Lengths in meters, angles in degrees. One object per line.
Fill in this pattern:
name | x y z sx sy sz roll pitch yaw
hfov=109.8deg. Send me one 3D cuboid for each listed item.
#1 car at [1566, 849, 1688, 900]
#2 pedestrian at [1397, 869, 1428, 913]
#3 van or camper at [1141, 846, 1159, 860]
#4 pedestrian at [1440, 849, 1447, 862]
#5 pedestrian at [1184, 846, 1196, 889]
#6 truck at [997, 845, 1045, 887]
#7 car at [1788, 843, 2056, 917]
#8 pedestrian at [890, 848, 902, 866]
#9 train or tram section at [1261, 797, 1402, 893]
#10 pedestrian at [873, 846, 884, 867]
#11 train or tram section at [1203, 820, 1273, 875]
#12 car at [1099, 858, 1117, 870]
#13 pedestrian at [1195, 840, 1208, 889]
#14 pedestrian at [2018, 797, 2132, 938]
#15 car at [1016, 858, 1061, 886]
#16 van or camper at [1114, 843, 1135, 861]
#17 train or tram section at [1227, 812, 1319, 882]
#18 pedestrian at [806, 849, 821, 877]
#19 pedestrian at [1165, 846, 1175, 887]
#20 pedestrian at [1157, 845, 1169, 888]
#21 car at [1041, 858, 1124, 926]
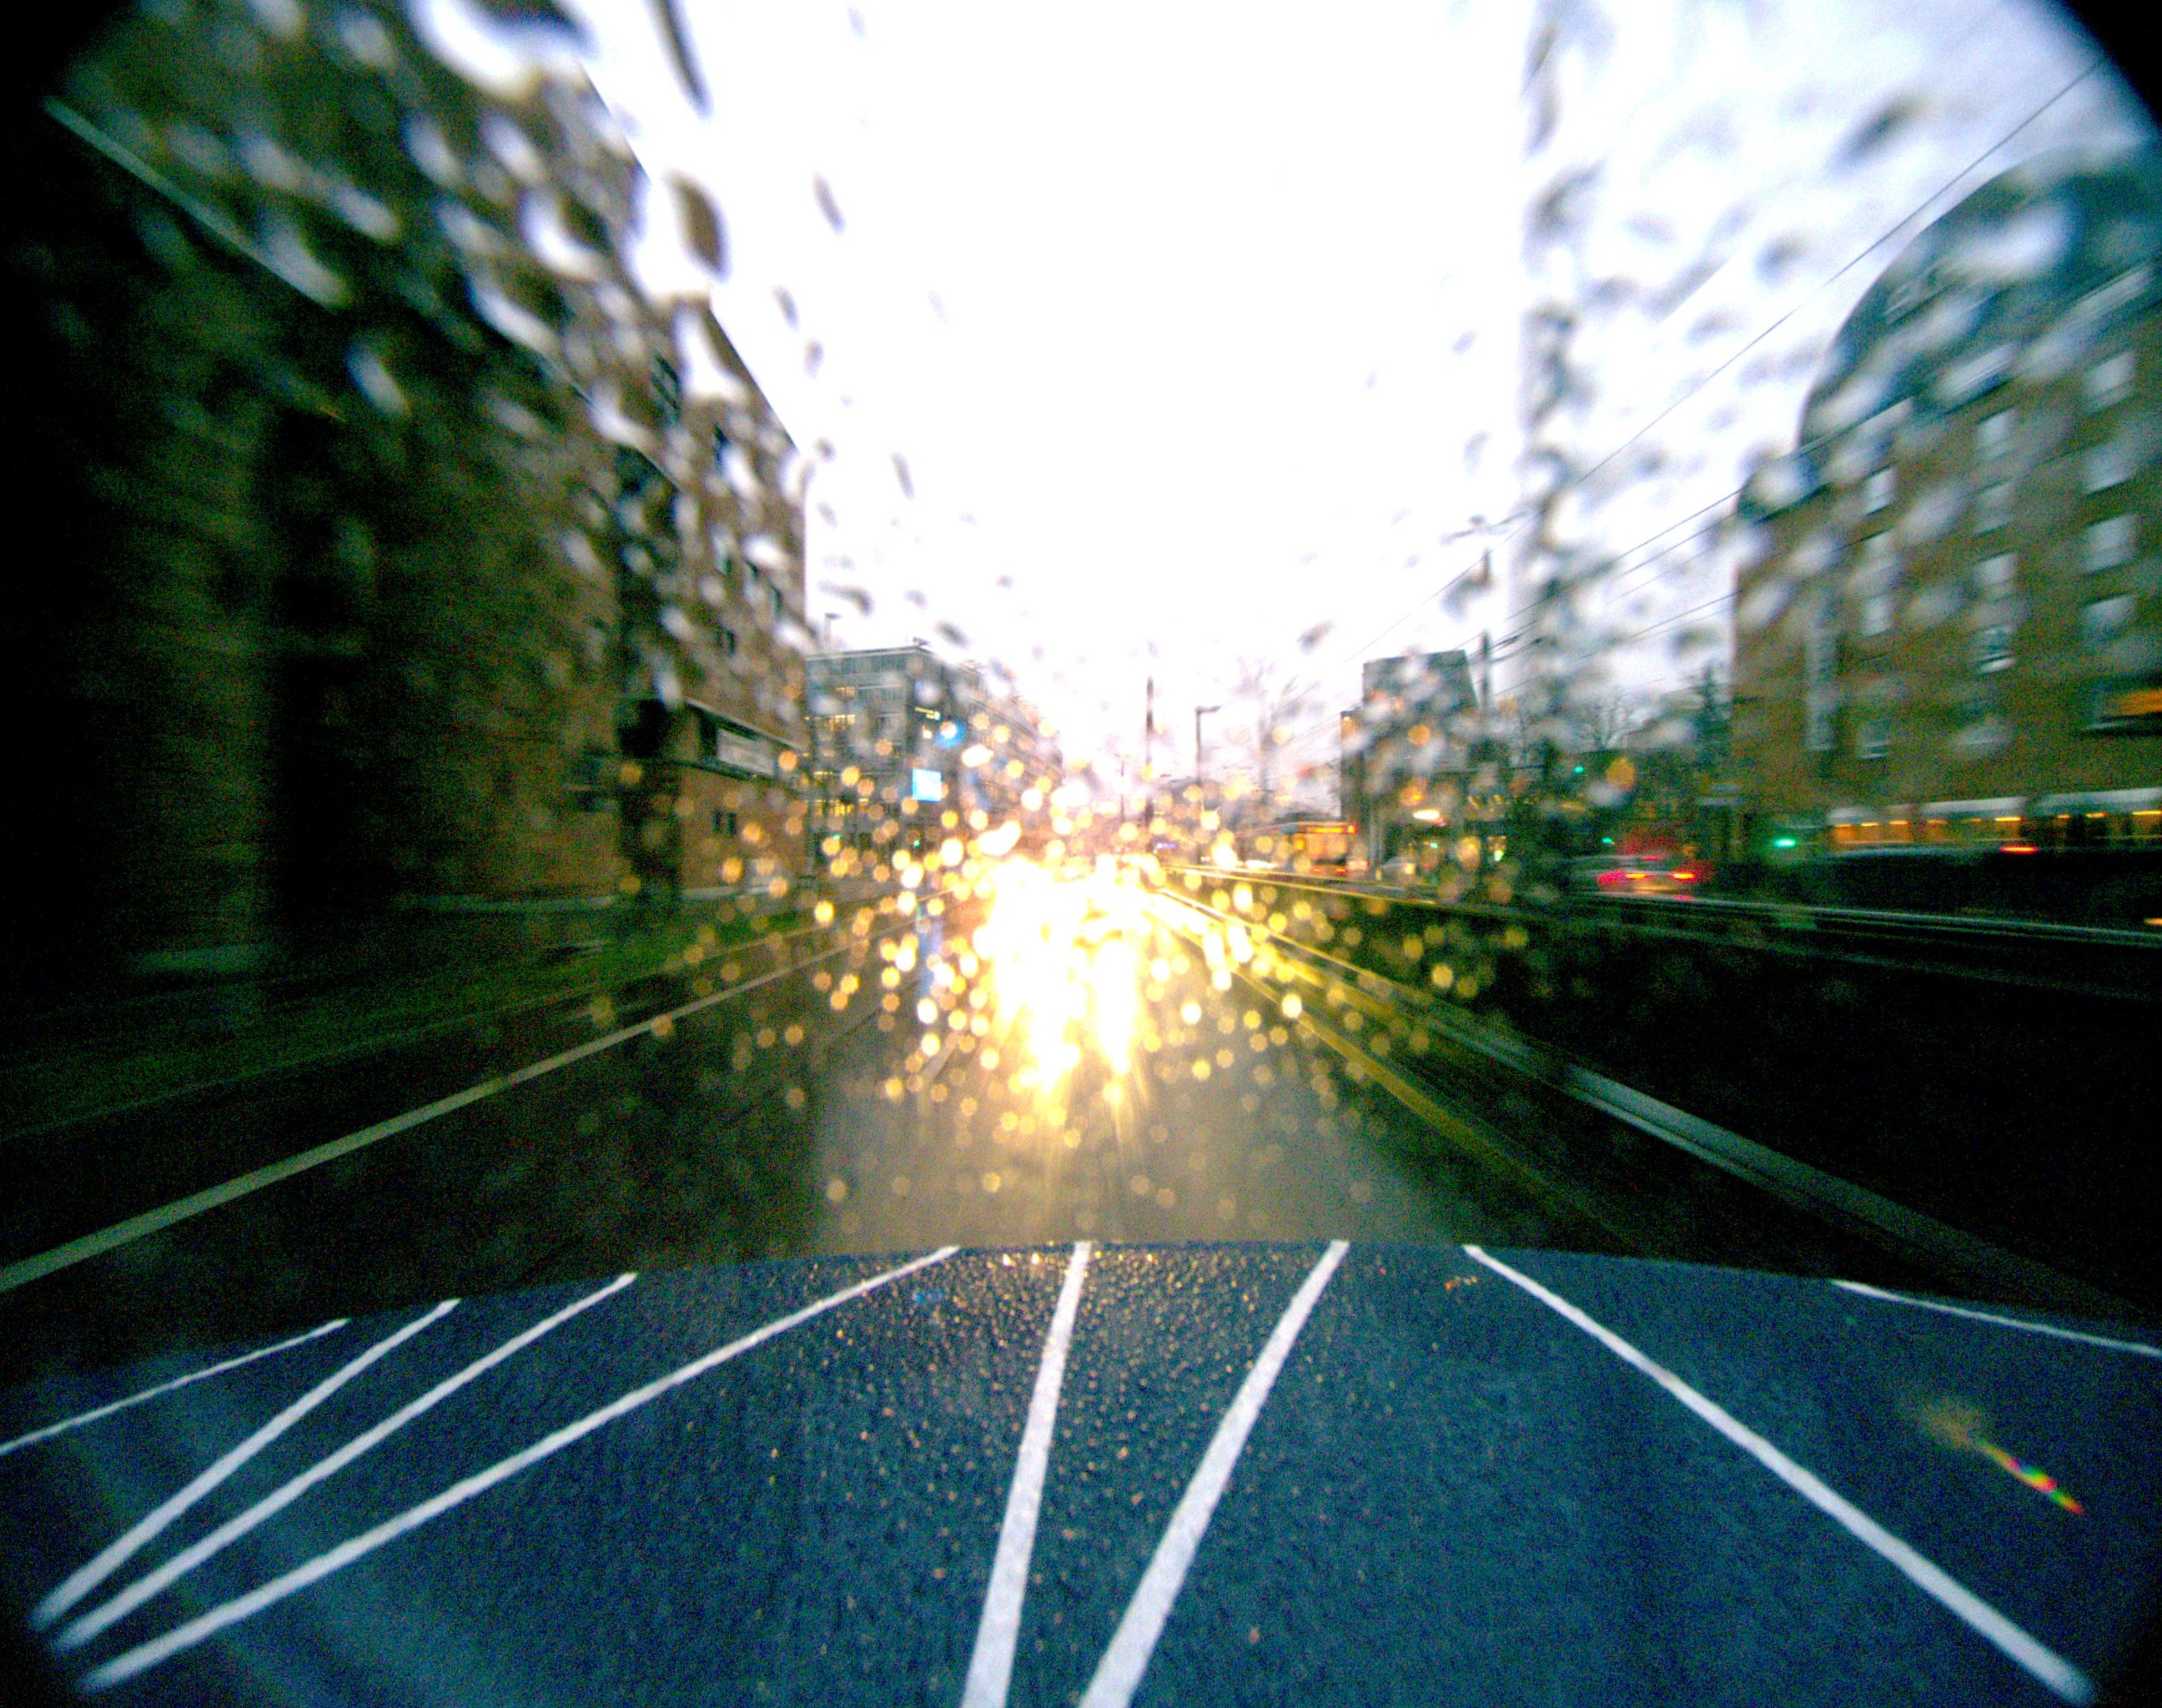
car | 17.378 0.598 24.354 1.521 1.508 3.325 -1 1 0
pedestrian | 8.840 0.976 20.269 0.581 1.146 0.490 -1 1 3
van or camper | 12.290 -0.128 134.566 2.183 2.338 5.656 -1 0 16
pedestrian | 47.443 0.222 99.387 0.726 1.698 0.695 1 1 20
pedestrian | 4.482 0.545 31.247 0.434 1.725 0.473 0 1 -4
truck | -2.915 0.568 37.942 1.909 1.906 4.617 -2 0 1
car | 17.288 0.476 15.904 1.686 1.346 3.545 -1 1 0
pedestrian | -18.832 0.295 77.270 1.152 1.776 0.777 0 1 -8
train or tram section | 10.730 -0.352 34.093 2.906 3.547 11.035 -2 0 2
pedestrian | -17.263 0.226 64.824 0.802 1.800 0.649 0 1 -32
train or tram section | 11.461 -0.462 56.807 2.957 3.568 12.255 -2 0 2
car | 3.525 1.306 99.834 1.683 1.563 3.764 0 0 13
pedestrian | 4.873 0.429 30.744 0.434 1.956 0.473 0 1 -4
pedestrian | 13.982 0.178 10.701 0.884 1.876 0.792 -1 1 -26
car | -2.807 1.183 51.731 1.908 1.808 4.693 -2 0 11
van or camper | 6.411 -0.326 111.800 2.059 2.533 5.890 -1 0 13
train or tram section | 11.079 -0.407 45.142 2.932 3.557 11.035 -2 0 2
pedestrian | -17.180 0.593 48.868 0.735 1.776 0.735 0 1 -2
pedestrian | 3.907 0.542 33.238 0.360 1.776 0.440 0 1 -4
pedestrian | 3.534 0.514 32.687 0.413 1.835 0.669 0 1 -4
car | 0.064 0.844 18.720 1.774 1.449 4.221 -2 0 1
